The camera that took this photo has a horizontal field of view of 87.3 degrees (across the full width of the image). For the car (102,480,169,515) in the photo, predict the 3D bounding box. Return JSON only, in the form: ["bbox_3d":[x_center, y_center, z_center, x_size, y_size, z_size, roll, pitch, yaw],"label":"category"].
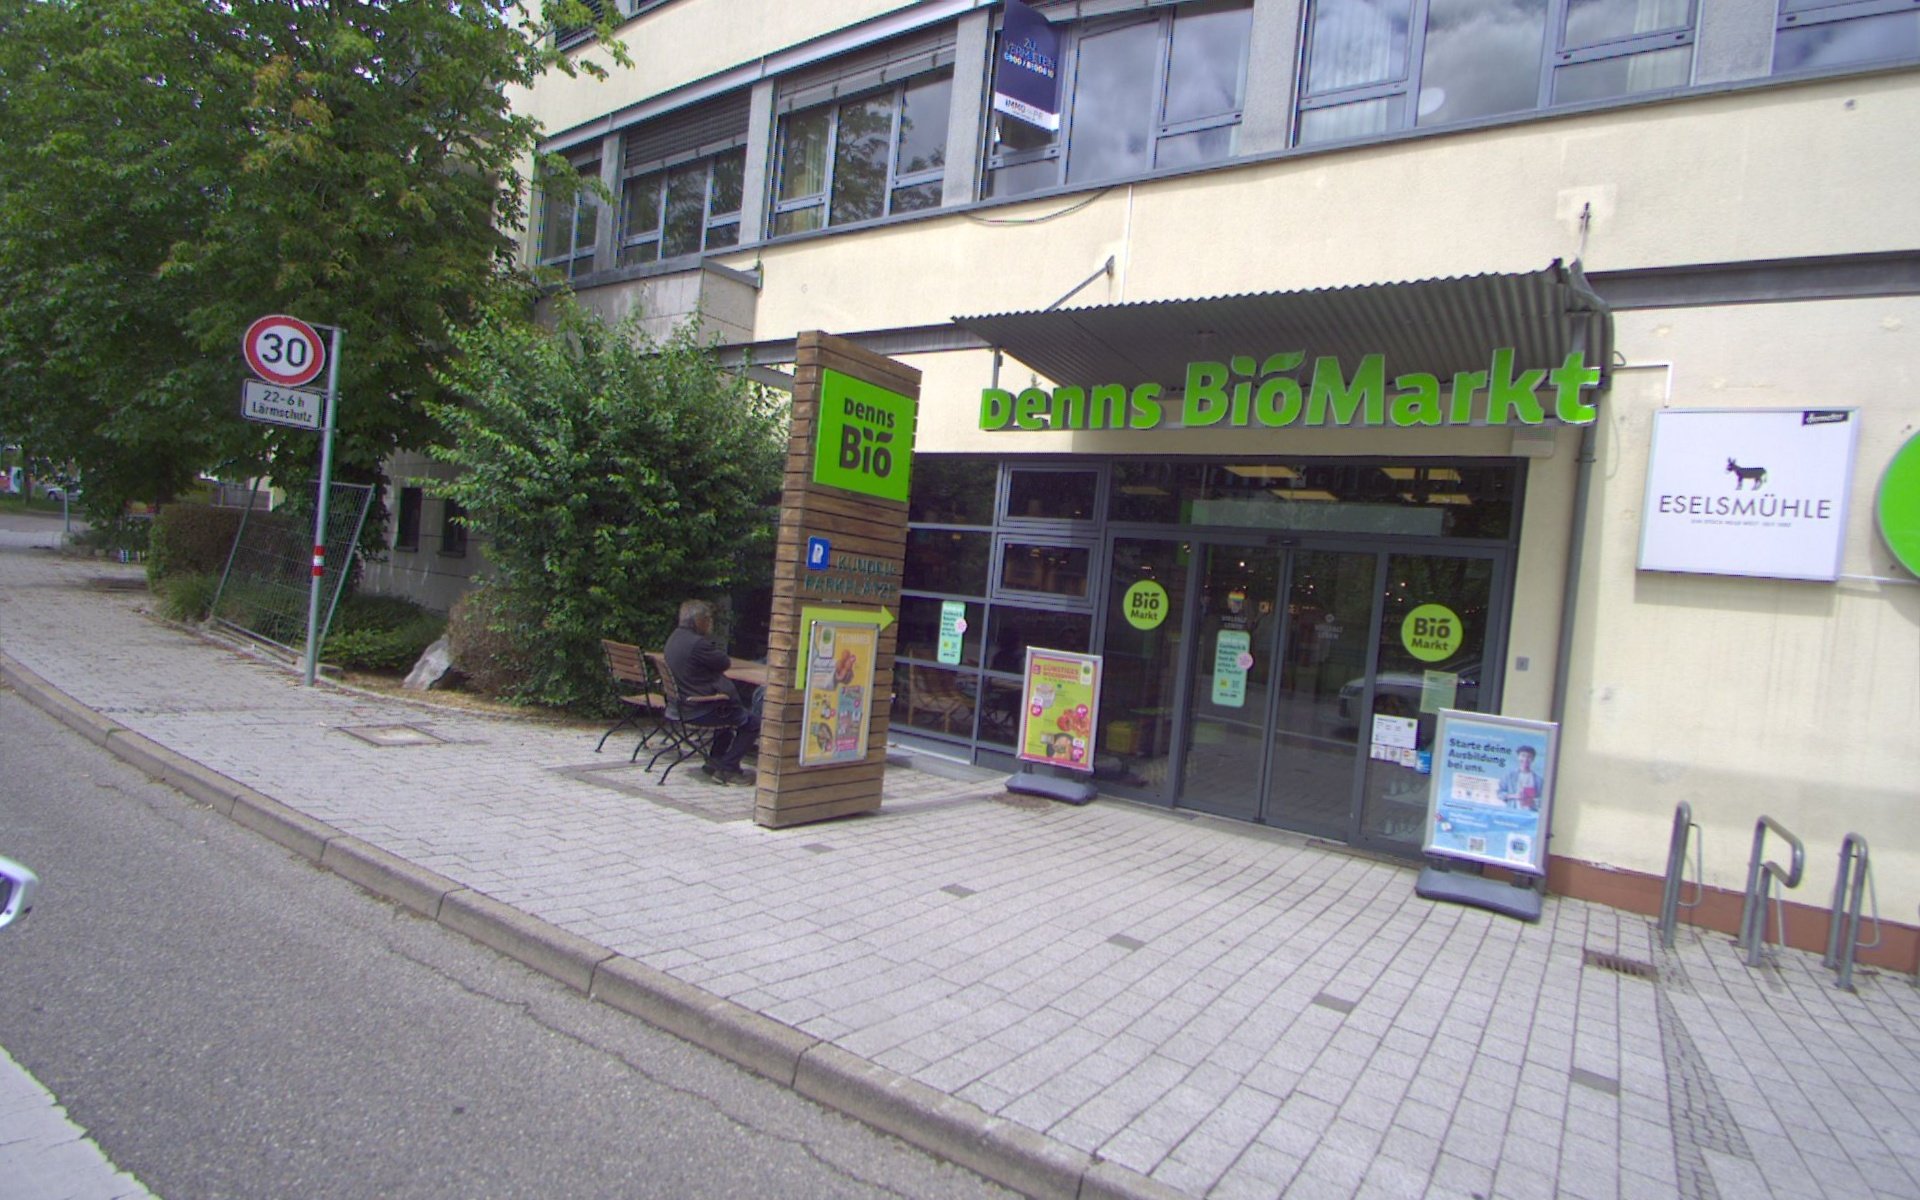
[{"bbox_3d":[-63.279,-7.835,77.280,1.710,2.038,3.768,6,-1,2],"label":"car"}]

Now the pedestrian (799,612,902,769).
[{"bbox_3d":[-0.912,0.745,8.418,0.495,1.218,0.577,6,0,31],"label":"pedestrian"}]

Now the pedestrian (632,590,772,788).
[{"bbox_3d":[-1.886,0.642,7.360,0.686,1.333,0.571,6,0,-42],"label":"pedestrian"}]

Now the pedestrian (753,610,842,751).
[{"bbox_3d":[-1.477,0.720,9.170,0.492,1.196,0.523,6,0,21],"label":"pedestrian"}]

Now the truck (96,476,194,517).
[{"bbox_3d":[-59.579,-7.543,73.675,2.049,2.038,5.618,6,-1,7],"label":"truck"}]
